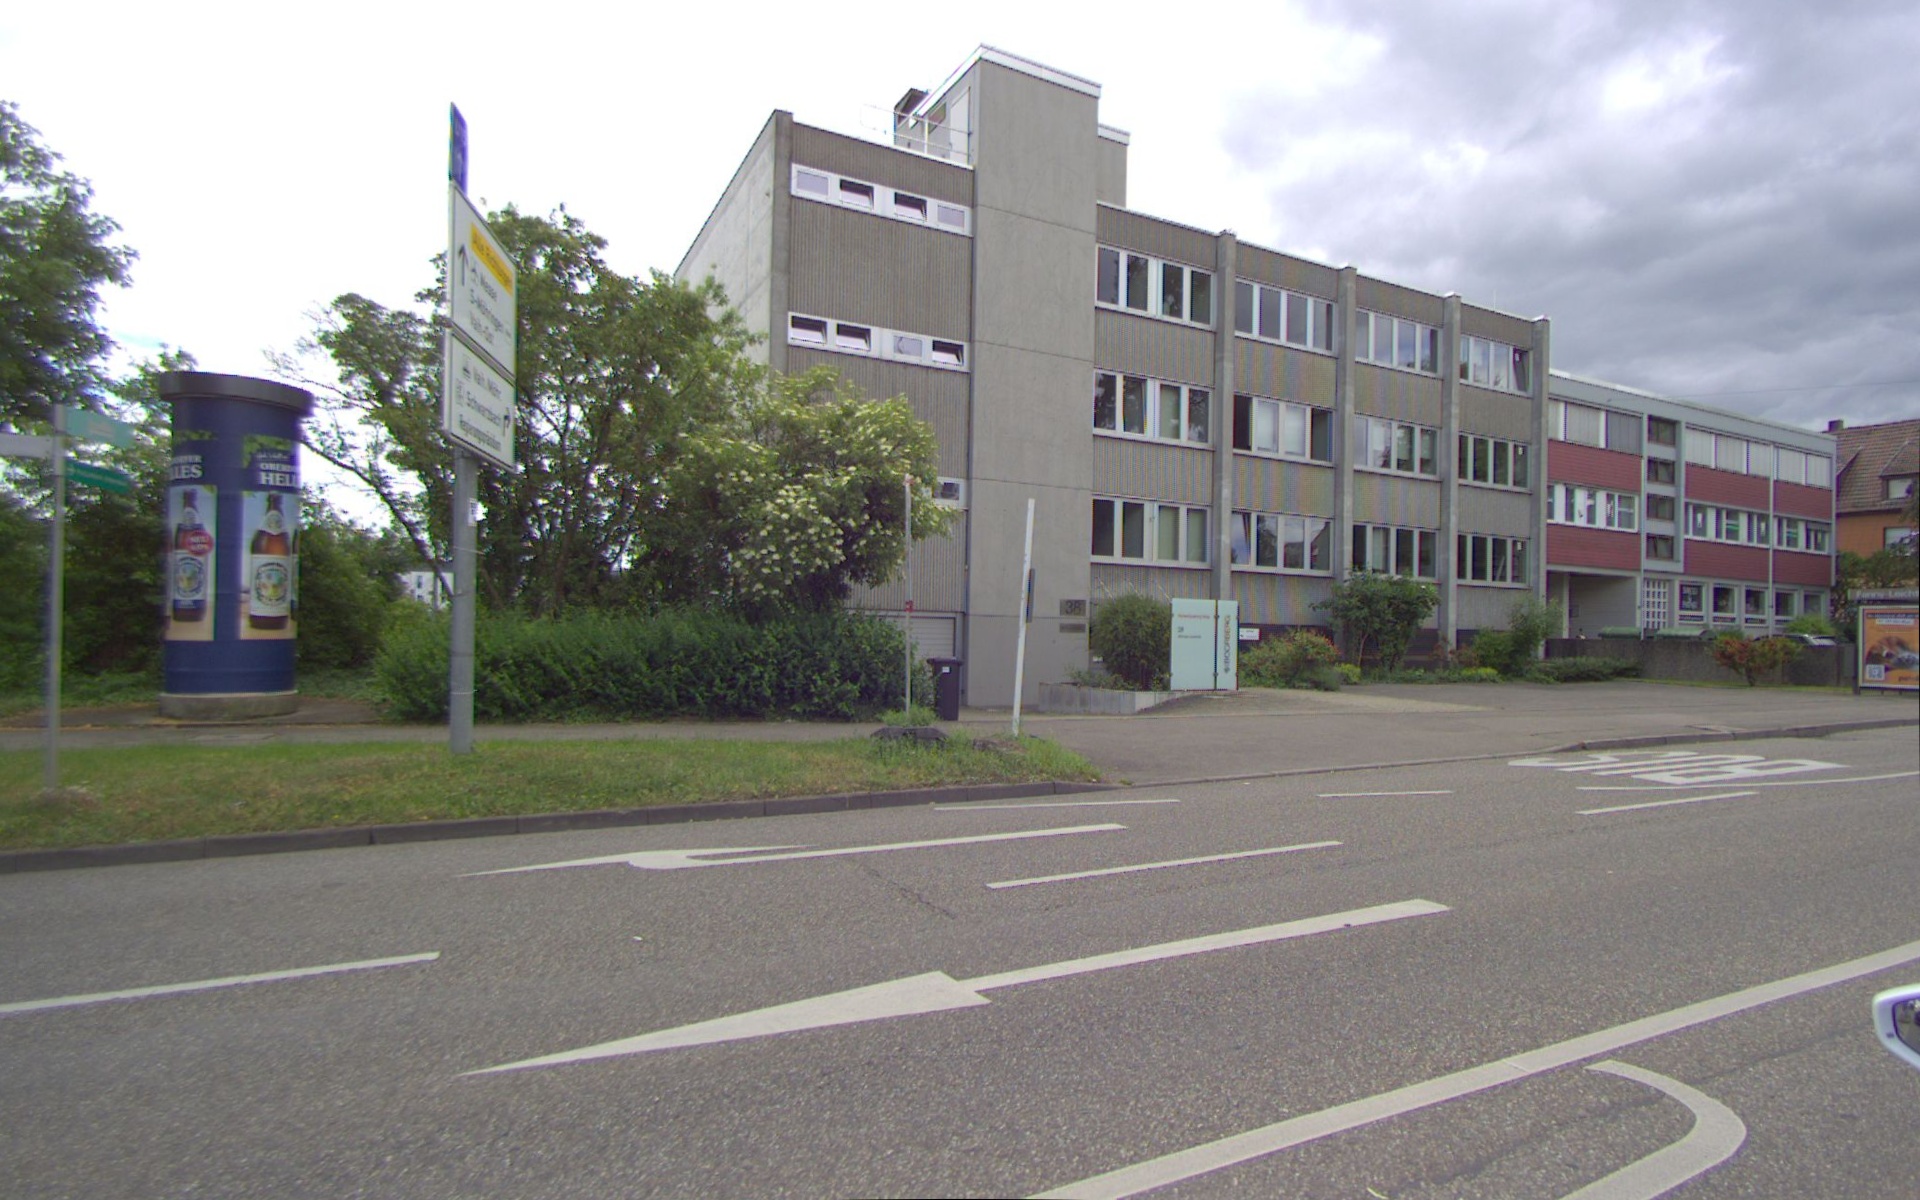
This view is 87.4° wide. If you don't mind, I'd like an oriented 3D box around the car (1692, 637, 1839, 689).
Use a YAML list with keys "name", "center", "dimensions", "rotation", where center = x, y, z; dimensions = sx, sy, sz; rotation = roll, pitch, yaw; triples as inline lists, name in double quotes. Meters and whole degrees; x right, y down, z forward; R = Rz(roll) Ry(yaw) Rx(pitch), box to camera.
- name: "car"
  center: [30.456, 2.337, 38.094]
  dimensions: [1.834, 1.814, 3.967]
  rotation: [1, -2, -31]

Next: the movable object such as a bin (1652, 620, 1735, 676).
- name: "movable object such as a bin"
  center: [27.729, 1.786, 38.009]
  dimensions: [1.765, 2.040, 1.985]
  rotation: [1, -2, -29]

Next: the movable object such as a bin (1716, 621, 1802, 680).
- name: "movable object such as a bin"
  center: [28.727, 1.789, 36.130]
  dimensions: [1.524, 2.040, 1.985]
  rotation: [1, -2, -29]
